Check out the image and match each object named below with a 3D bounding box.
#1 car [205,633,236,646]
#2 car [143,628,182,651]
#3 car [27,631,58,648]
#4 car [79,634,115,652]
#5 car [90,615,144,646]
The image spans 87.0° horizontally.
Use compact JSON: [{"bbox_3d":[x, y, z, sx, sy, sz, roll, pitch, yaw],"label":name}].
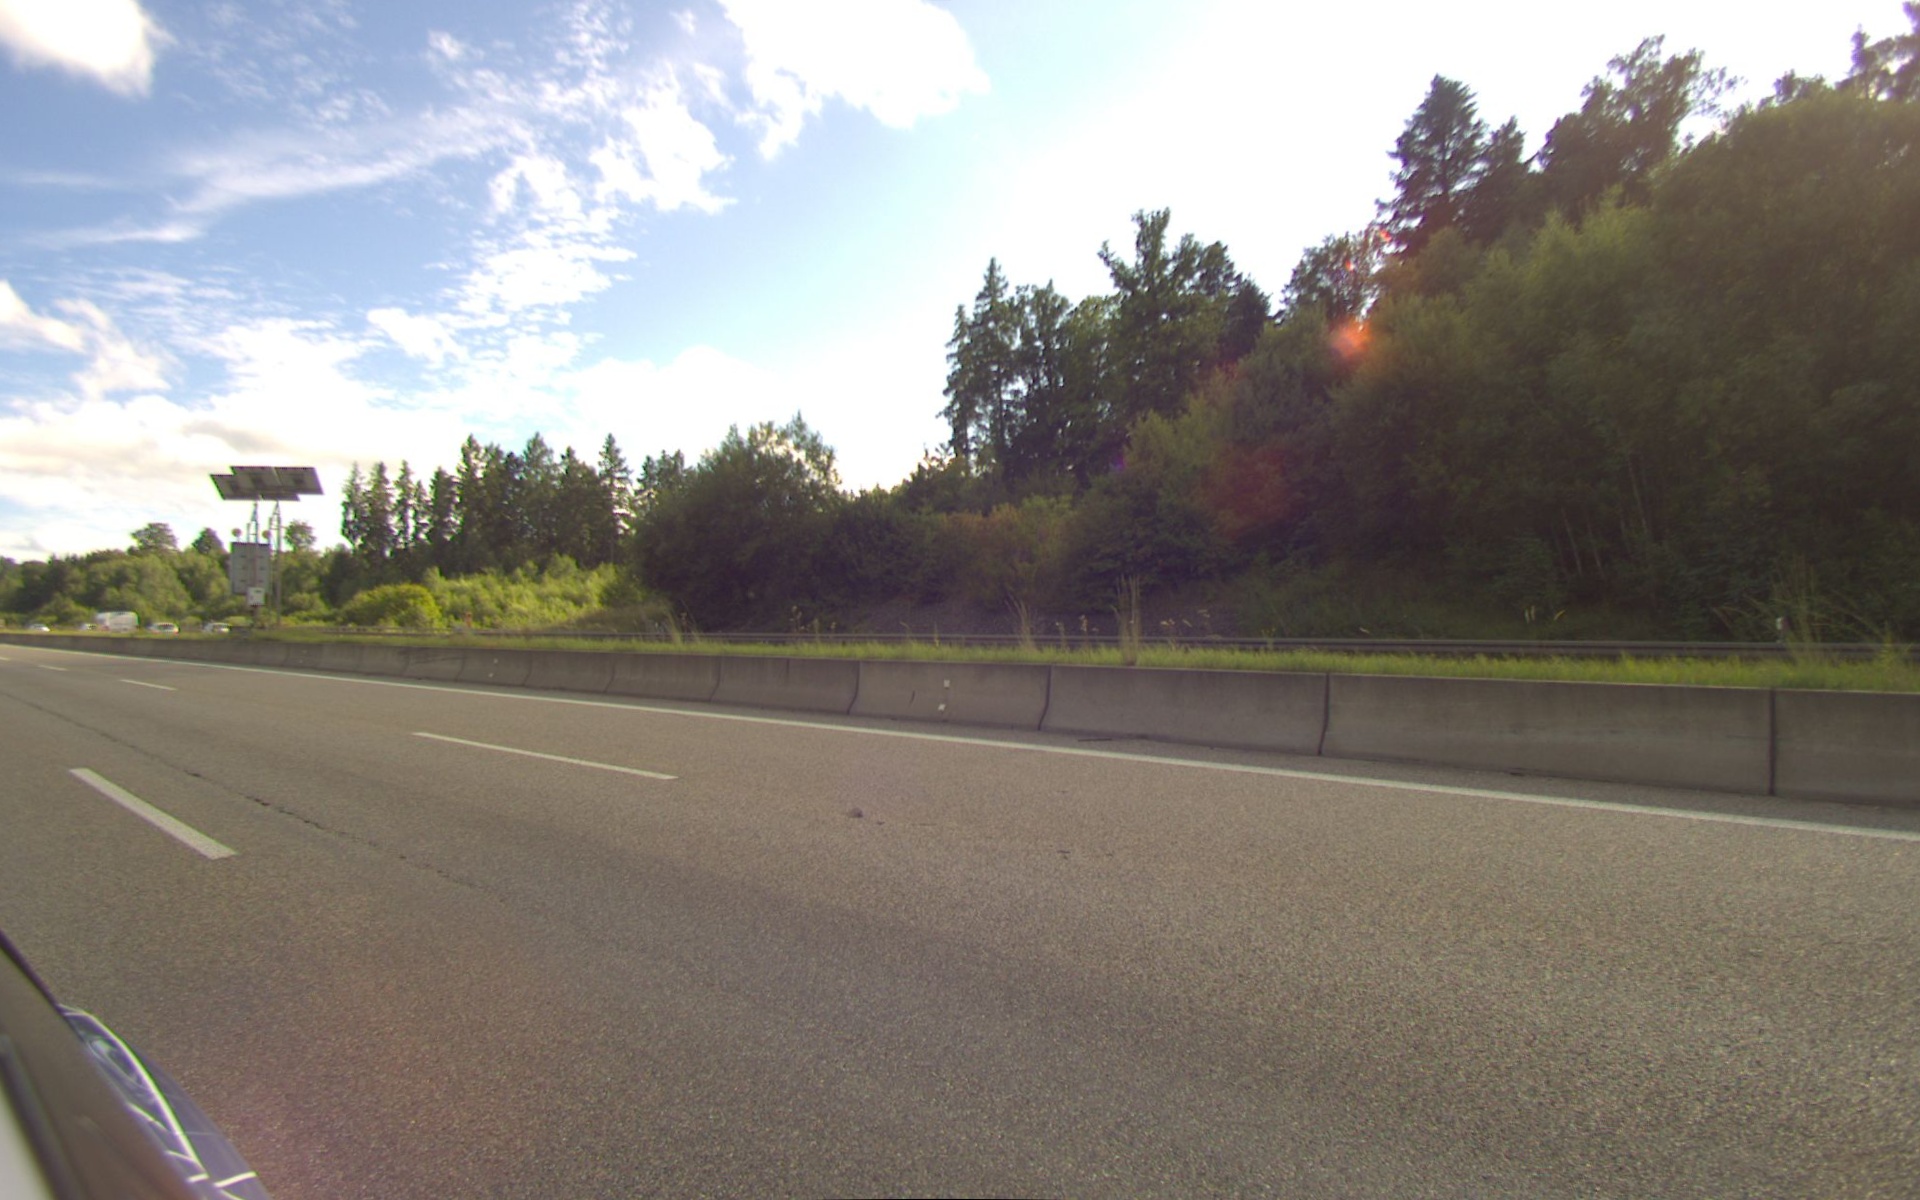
[{"bbox_3d":[-64.556,3.437,88.365,3.172,1.102,1.574,-2,-1,42],"label":"car"},{"bbox_3d":[-67.863,3.345,86.111,4.492,1.819,1.903,-2,-1,42],"label":"car"},{"bbox_3d":[-122.828,5.272,135.438,5.964,2.155,2.551,-2,-1,42],"label":"car"},{"bbox_3d":[-105.091,5.205,123.241,5.964,2.155,2.551,-2,-1,42],"label":"car"},{"bbox_3d":[-67.020,2.419,80.433,5.827,2.364,2.551,-2,-1,42],"label":"car"}]
